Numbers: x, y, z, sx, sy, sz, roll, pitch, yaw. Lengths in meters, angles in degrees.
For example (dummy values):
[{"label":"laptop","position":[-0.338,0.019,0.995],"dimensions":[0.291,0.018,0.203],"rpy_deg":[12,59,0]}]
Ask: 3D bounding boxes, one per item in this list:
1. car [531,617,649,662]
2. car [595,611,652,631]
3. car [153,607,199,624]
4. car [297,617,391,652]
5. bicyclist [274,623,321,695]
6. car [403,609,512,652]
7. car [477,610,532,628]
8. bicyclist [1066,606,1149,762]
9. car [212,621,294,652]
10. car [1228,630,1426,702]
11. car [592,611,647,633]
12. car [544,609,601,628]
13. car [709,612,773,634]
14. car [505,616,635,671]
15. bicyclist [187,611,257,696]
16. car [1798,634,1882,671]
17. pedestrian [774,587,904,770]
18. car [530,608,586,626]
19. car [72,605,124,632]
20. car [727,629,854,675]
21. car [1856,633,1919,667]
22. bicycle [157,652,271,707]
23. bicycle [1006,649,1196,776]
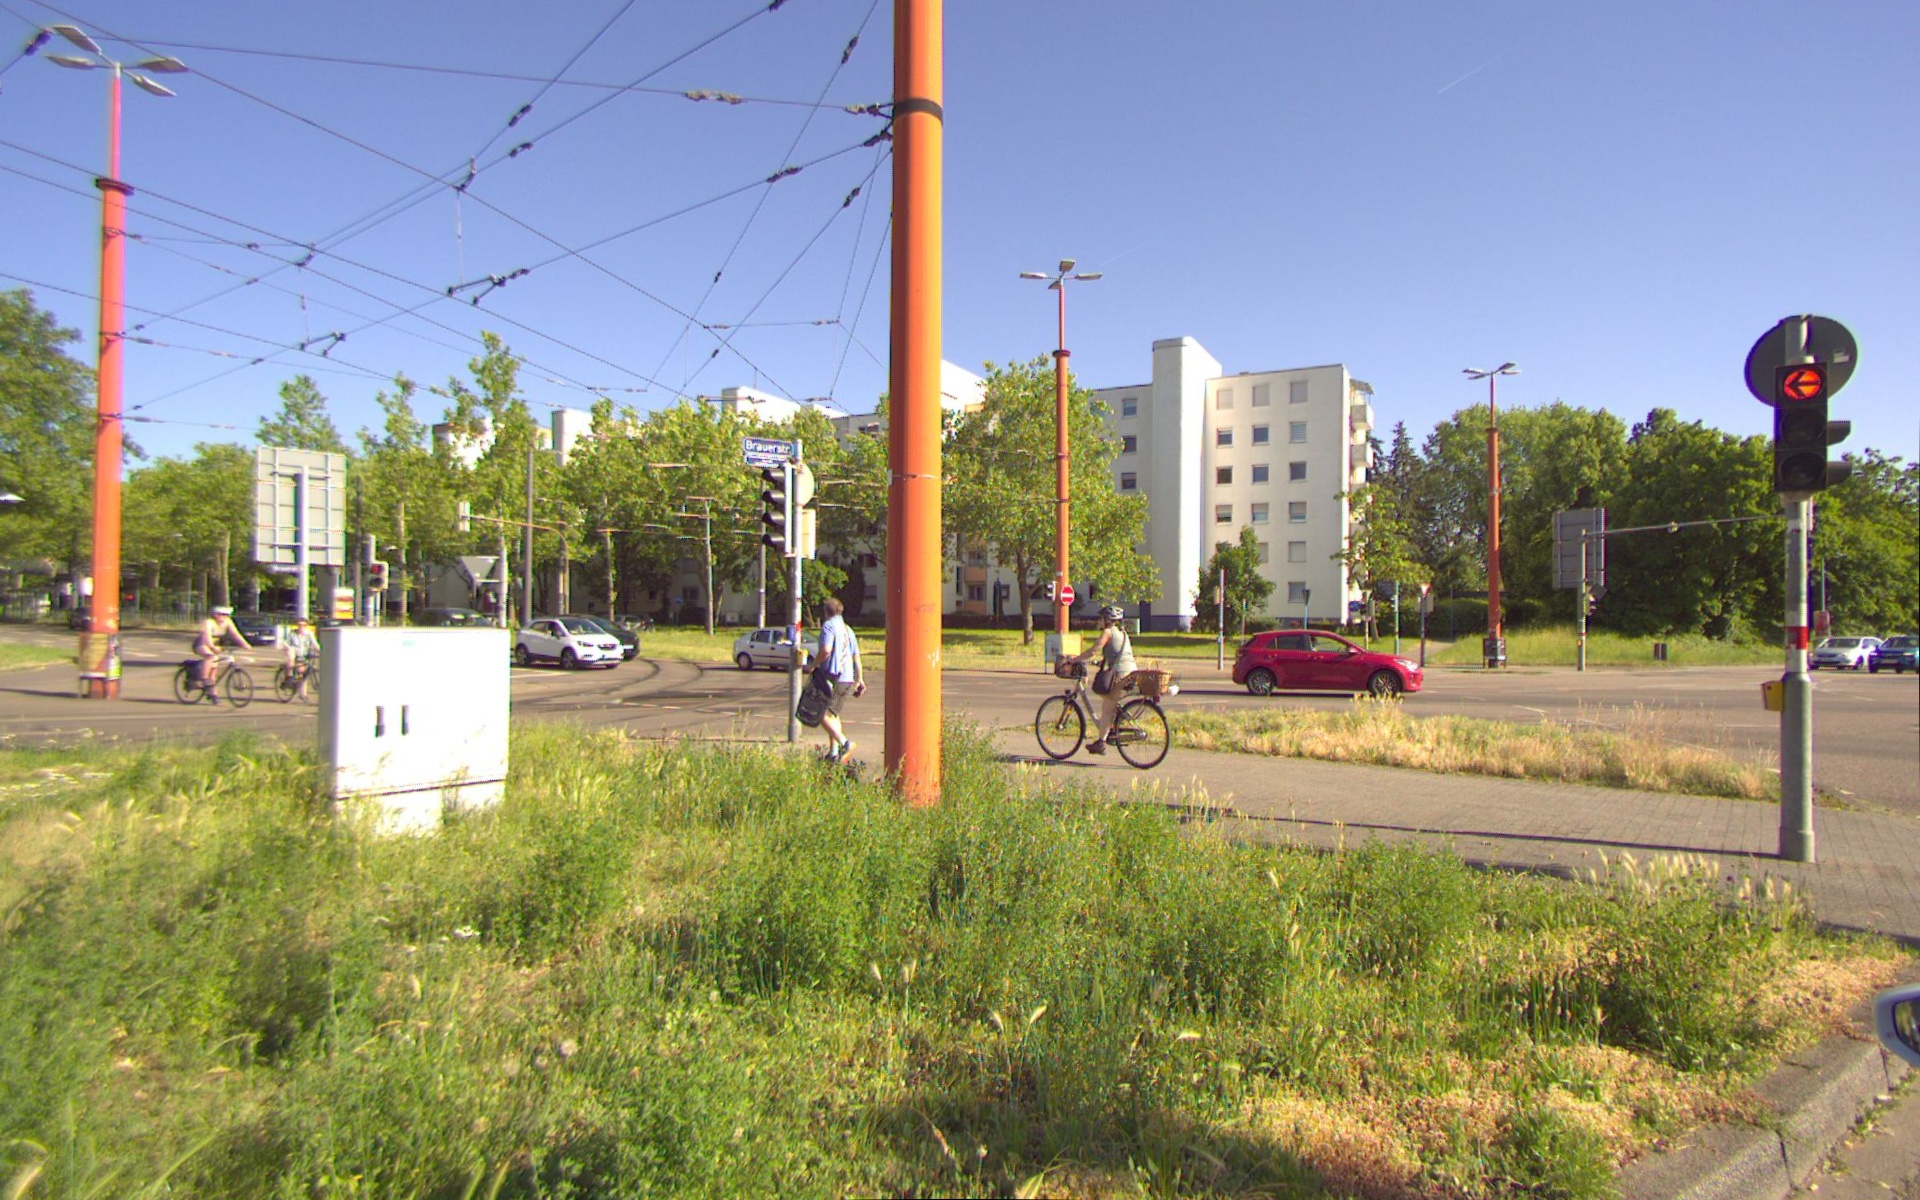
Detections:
[{"label":"car","position":[-13.729,1.424,37.247],"dimensions":[4.186,1.566,1.855],"rpy_deg":[0,-1,30]},{"label":"car","position":[-25.002,1.552,74.696],"dimensions":[3.934,1.428,1.794],"rpy_deg":[1,-1,-16]},{"label":"car","position":[-93.996,1.875,120.454],"dimensions":[1.969,2.040,3.984],"rpy_deg":[0,-1,38]},{"label":"car","position":[-25.360,1.391,41.309],"dimensions":[4.291,1.368,1.760],"rpy_deg":[0,-1,35]},{"label":"bicyclist","position":[-13.149,1.166,19.942],"dimensions":[0.616,1.399,0.443],"rpy_deg":[1,-1,-1]},{"label":"car","position":[-21.187,1.269,42.334],"dimensions":[4.225,1.730,1.850],"rpy_deg":[0,-1,25]},{"label":"car","position":[-38.037,1.563,83.884],"dimensions":[3.935,1.428,1.794],"rpy_deg":[1,-1,-17]},{"label":"bicyclist","position":[1.594,0.874,10.812],"dimensions":[0.651,1.605,0.671],"rpy_deg":[0,-1,33]},{"label":"car","position":[-33.370,1.694,47.369],"dimensions":[4.290,1.368,1.760],"rpy_deg":[0,-1,34]},{"label":"car","position":[8.099,1.414,22.393],"dimensions":[3.984,1.454,1.686],"rpy_deg":[0,-1,19]},{"label":"car","position":[-22.613,1.480,66.627],"dimensions":[3.941,1.416,1.747],"rpy_deg":[0,-2,41]},{"label":"car","position":[-30.082,1.414,78.075],"dimensions":[3.934,1.428,1.794],"rpy_deg":[1,-1,-16]},{"label":"car","position":[-14.548,1.547,66.843],"dimensions":[1.770,1.428,3.987],"rpy_deg":[0,-1,35]},{"label":"car","position":[-12.816,1.387,32.951],"dimensions":[4.179,1.658,1.824],"rpy_deg":[0,-1,32]},{"label":"bicyclist","position":[-13.893,0.995,18.935],"dimensions":[0.752,1.565,0.732],"rpy_deg":[1,-1,-1]},{"label":"car","position":[39.254,2.317,44.812],"dimensions":[3.891,1.552,1.752],"rpy_deg":[1,-1,-31]},{"label":"pedestrian","position":[-1.281,0.796,10.681],"dimensions":[0.973,1.817,0.951],"rpy_deg":[0,-1,38]},{"label":"car","position":[-31.944,1.364,79.972],"dimensions":[3.935,1.428,1.794],"rpy_deg":[1,-1,-17]},{"label":"car","position":[-58.112,1.230,67.684],"dimensions":[4.240,1.730,1.844],"rpy_deg":[0,-1,38]},{"label":"car","position":[-5.509,1.644,32.518],"dimensions":[3.925,1.363,1.486],"rpy_deg":[0,-1,26]},{"label":"car","position":[37.151,1.959,39.624],"dimensions":[3.571,1.260,1.730],"rpy_deg":[1,-1,-31]},{"label":"bicycle","position":[-14.006,1.482,18.886],"dimensions":[1.612,0.974,0.685],"rpy_deg":[1,-1,-1]},{"label":"bicycle","position":[1.500,1.161,10.843],"dimensions":[1.915,1.210,0.690],"rpy_deg":[0,-1,33]}]
